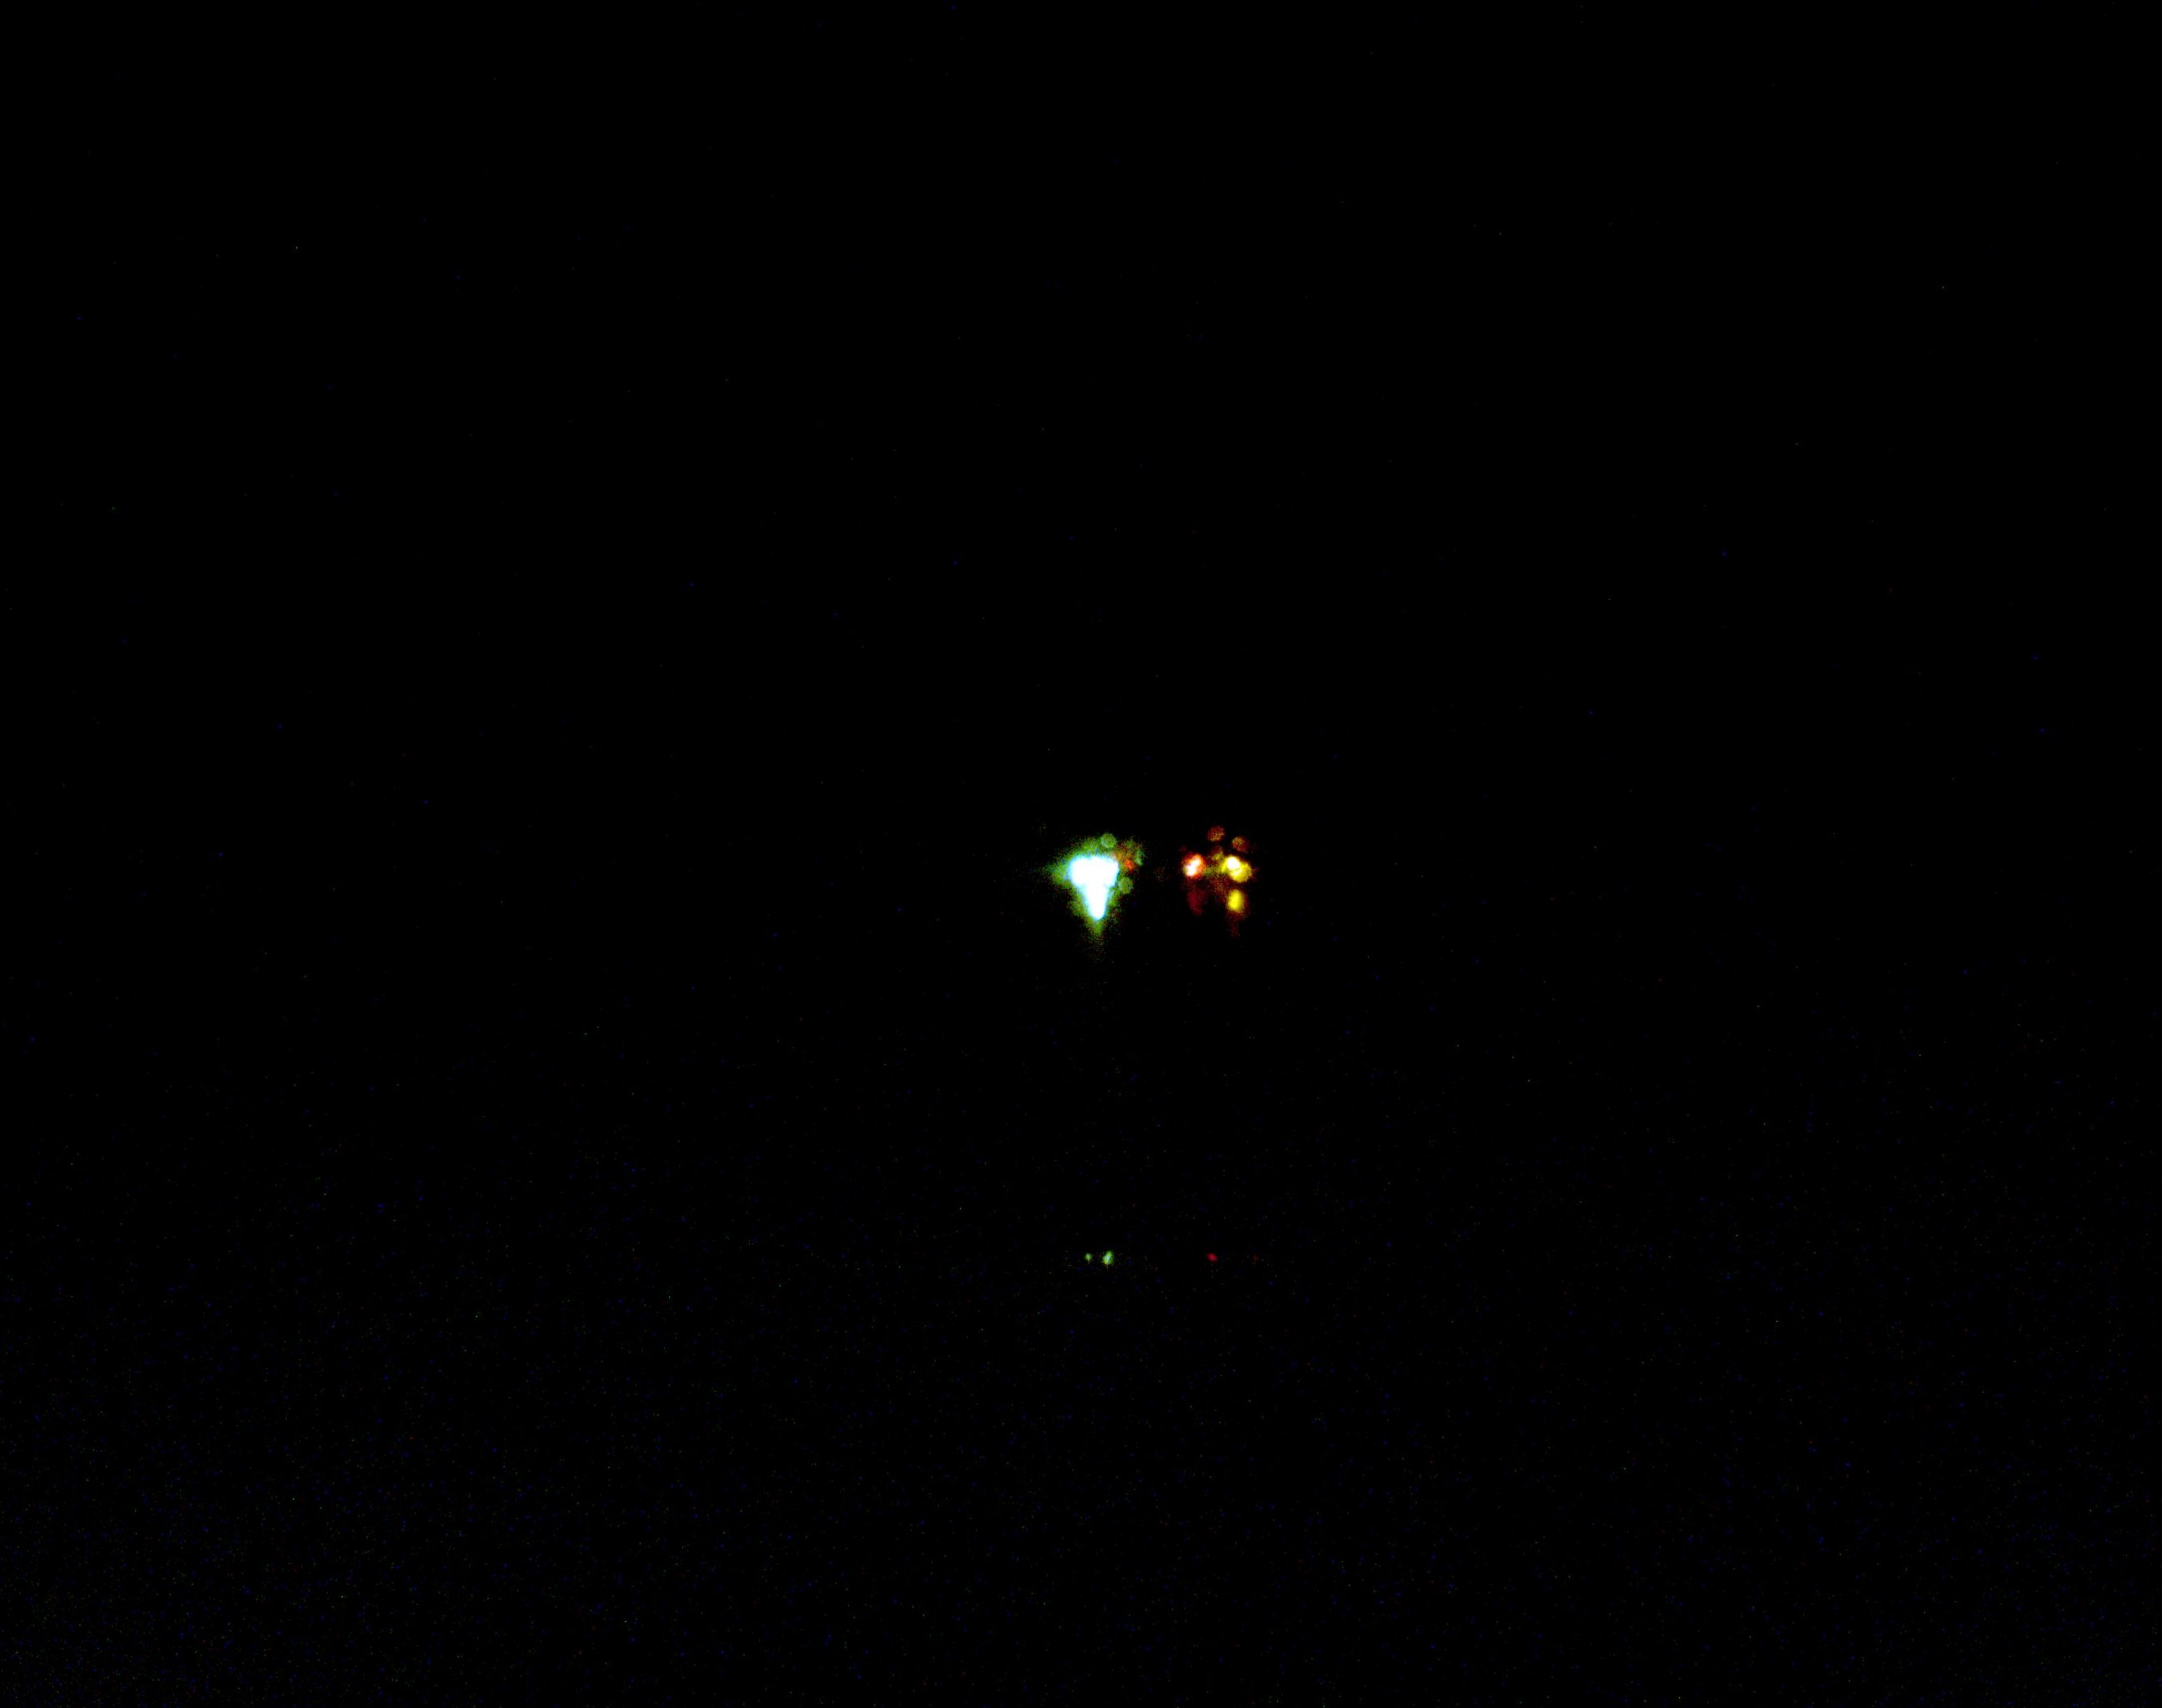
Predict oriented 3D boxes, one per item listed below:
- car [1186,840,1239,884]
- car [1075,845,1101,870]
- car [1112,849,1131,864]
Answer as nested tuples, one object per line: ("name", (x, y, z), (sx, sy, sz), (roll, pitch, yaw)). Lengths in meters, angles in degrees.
("car", (5.885, 0.312, 34.504), (1.998, 1.849, 4.443), (-2, 1, 6))
("car", (0.618, 0.282, 63.845), (1.998, 2.002, 4.000), (-1, 1, 1))
("car", (4.950, 0.258, 93.557), (2.112, 1.702, 4.000), (-2, 1, 1))
